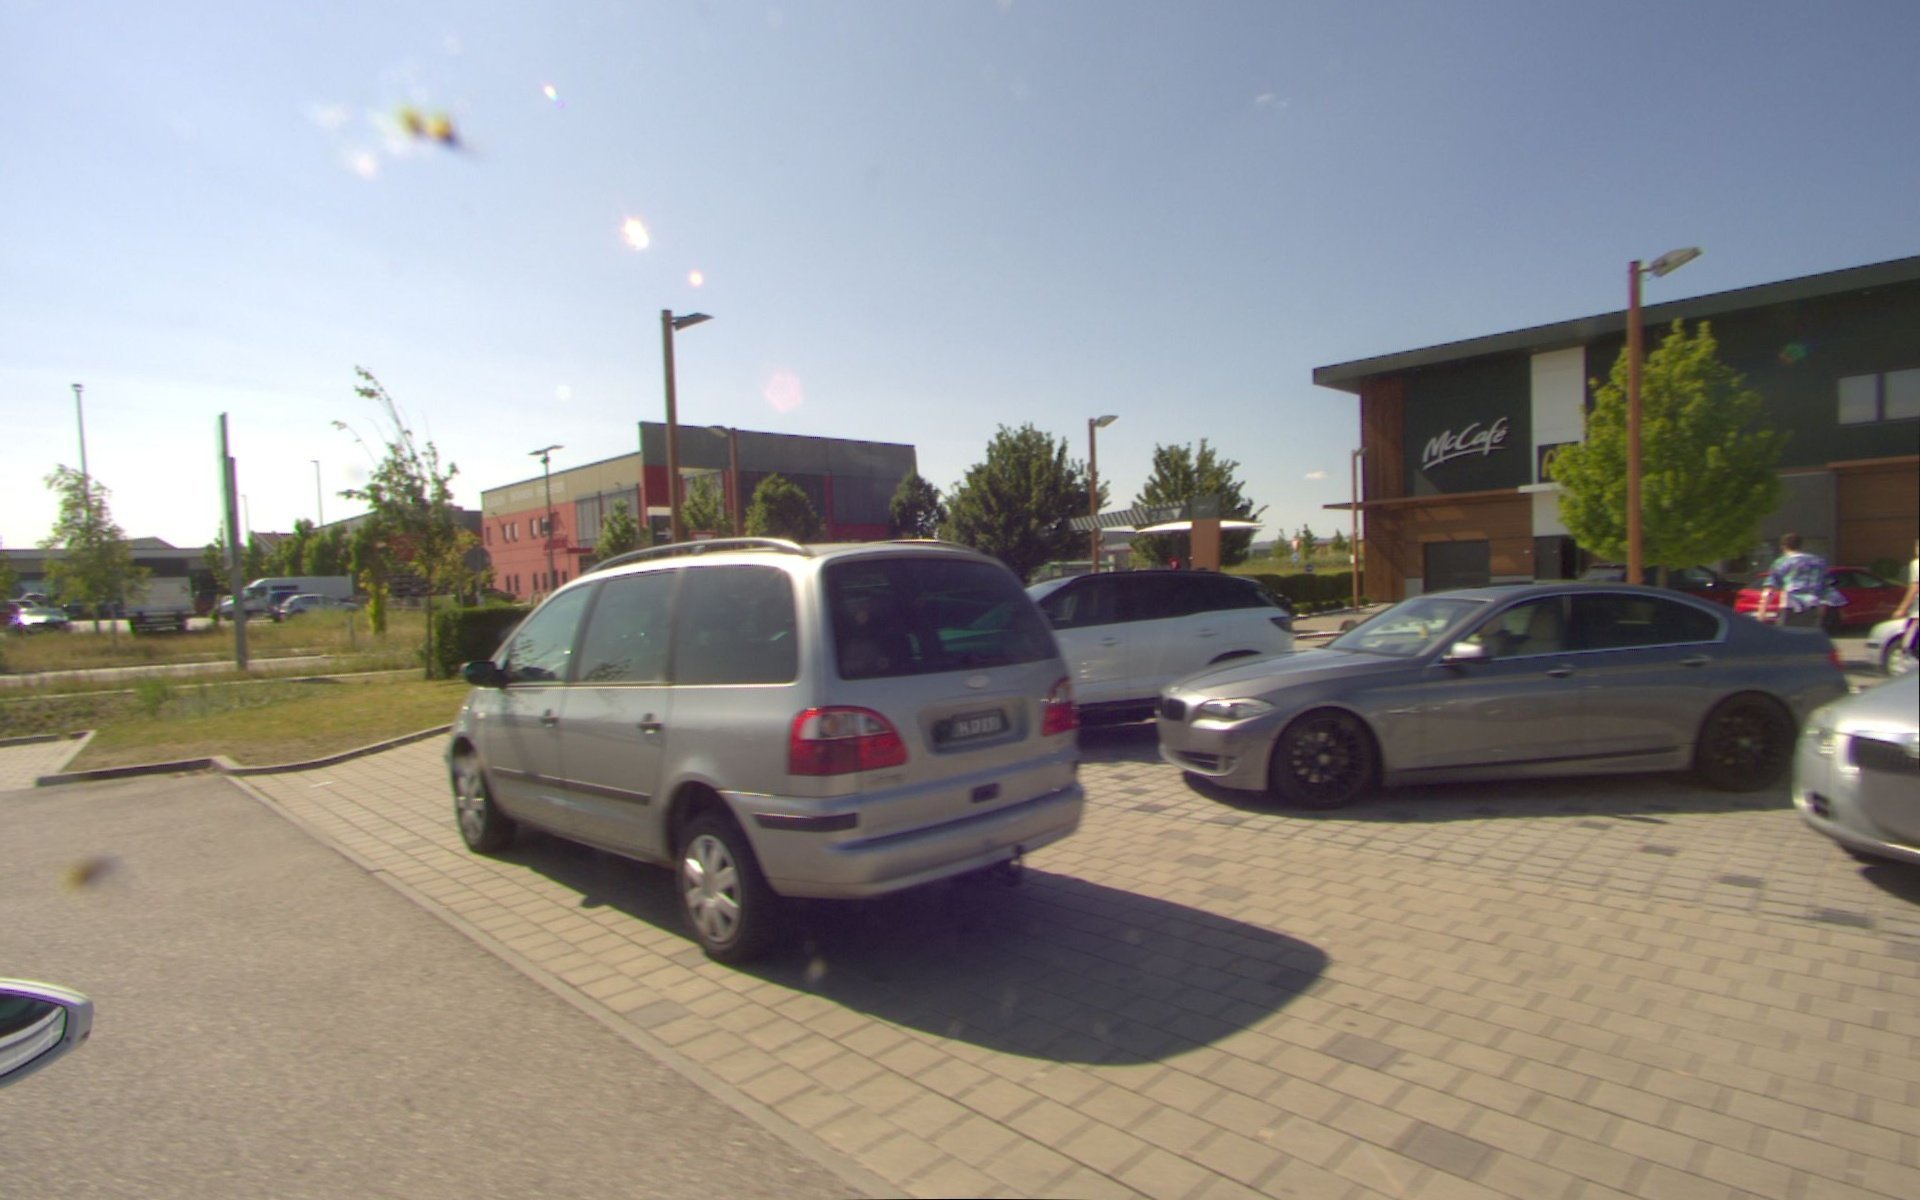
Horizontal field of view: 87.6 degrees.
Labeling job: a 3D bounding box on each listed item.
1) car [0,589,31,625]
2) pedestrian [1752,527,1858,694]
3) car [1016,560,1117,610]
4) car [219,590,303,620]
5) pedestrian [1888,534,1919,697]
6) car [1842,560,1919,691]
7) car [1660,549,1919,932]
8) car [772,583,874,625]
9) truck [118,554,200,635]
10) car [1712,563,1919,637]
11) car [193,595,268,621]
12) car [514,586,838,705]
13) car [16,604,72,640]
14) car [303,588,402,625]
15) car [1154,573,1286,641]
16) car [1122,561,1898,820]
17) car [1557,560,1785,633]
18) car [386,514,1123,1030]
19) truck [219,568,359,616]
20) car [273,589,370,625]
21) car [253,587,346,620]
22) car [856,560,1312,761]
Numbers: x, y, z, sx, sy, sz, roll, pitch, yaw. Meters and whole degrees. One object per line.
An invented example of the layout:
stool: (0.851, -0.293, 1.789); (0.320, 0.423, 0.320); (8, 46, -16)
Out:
car: (-51.380, 0.397, 52.187); (1.851, 1.880, 4.226); (0, 1, 44)
pedestrian: (9.913, 0.117, 11.781); (0.822, 1.875, 0.766); (0, 2, 30)
car: (5.051, -0.725, 46.979); (5.055, 2.226, 1.980); (-2, 1, -45)
car: (-47.215, 0.309, 67.658); (1.935, 1.880, 4.362); (0, 1, 44)
pedestrian: (10.805, 0.168, 11.130); (0.458, 1.792, 0.552); (-1, 1, -8)
car: (11.964, 0.282, 10.581); (1.678, 1.513, 4.113); (-2, 1, 1)
car: (5.819, 0.516, 4.698); (4.131, 1.547, 1.972); (-1, 1, -15)
car: (-6.876, 0.180, 50.581); (4.837, 1.980, 1.864); (-2, 0, -39)
truck: (-37.542, -0.253, 46.941); (2.736, 3.527, 6.776); (-2, 1, -39)
car: (19.456, -0.034, 22.201); (4.382, 1.485, 1.961); (-1, 1, -9)
car: (-55.516, 0.586, 76.229); (1.935, 1.880, 4.362); (0, 1, 44)
car: (-4.066, 0.626, 14.935); (4.248, 1.547, 1.974); (-1, 2, -1)
car: (-40.860, 0.965, 44.729); (1.636, 1.479, 3.933); (-2, 1, -40)
car: (-33.912, 0.339, 55.983); (1.935, 1.880, 4.362); (0, 1, 44)
car: (7.326, 0.141, 27.945); (1.973, 1.714, 4.201); (0, 2, 40)
car: (3.787, 0.561, 7.478); (4.752, 1.547, 1.974); (-1, 1, -3)
car: (17.469, -0.105, 24.729); (4.381, 1.624, 1.961); (-1, 1, -6)
car: (-1.522, 0.594, 5.707); (4.635, 1.772, 1.815); (-1, 2, 45)
truck: (-41.906, -0.549, 62.696); (1.935, 2.852, 6.990); (0, 1, 44)
car: (-36.460, 0.384, 57.254); (1.935, 1.880, 4.362); (0, 1, 44)
car: (-40.074, 0.212, 60.814); (1.935, 1.880, 4.362); (0, 1, 44)
car: (1.132, 0.507, 10.091); (4.128, 1.677, 1.973); (-1, 1, -12)
